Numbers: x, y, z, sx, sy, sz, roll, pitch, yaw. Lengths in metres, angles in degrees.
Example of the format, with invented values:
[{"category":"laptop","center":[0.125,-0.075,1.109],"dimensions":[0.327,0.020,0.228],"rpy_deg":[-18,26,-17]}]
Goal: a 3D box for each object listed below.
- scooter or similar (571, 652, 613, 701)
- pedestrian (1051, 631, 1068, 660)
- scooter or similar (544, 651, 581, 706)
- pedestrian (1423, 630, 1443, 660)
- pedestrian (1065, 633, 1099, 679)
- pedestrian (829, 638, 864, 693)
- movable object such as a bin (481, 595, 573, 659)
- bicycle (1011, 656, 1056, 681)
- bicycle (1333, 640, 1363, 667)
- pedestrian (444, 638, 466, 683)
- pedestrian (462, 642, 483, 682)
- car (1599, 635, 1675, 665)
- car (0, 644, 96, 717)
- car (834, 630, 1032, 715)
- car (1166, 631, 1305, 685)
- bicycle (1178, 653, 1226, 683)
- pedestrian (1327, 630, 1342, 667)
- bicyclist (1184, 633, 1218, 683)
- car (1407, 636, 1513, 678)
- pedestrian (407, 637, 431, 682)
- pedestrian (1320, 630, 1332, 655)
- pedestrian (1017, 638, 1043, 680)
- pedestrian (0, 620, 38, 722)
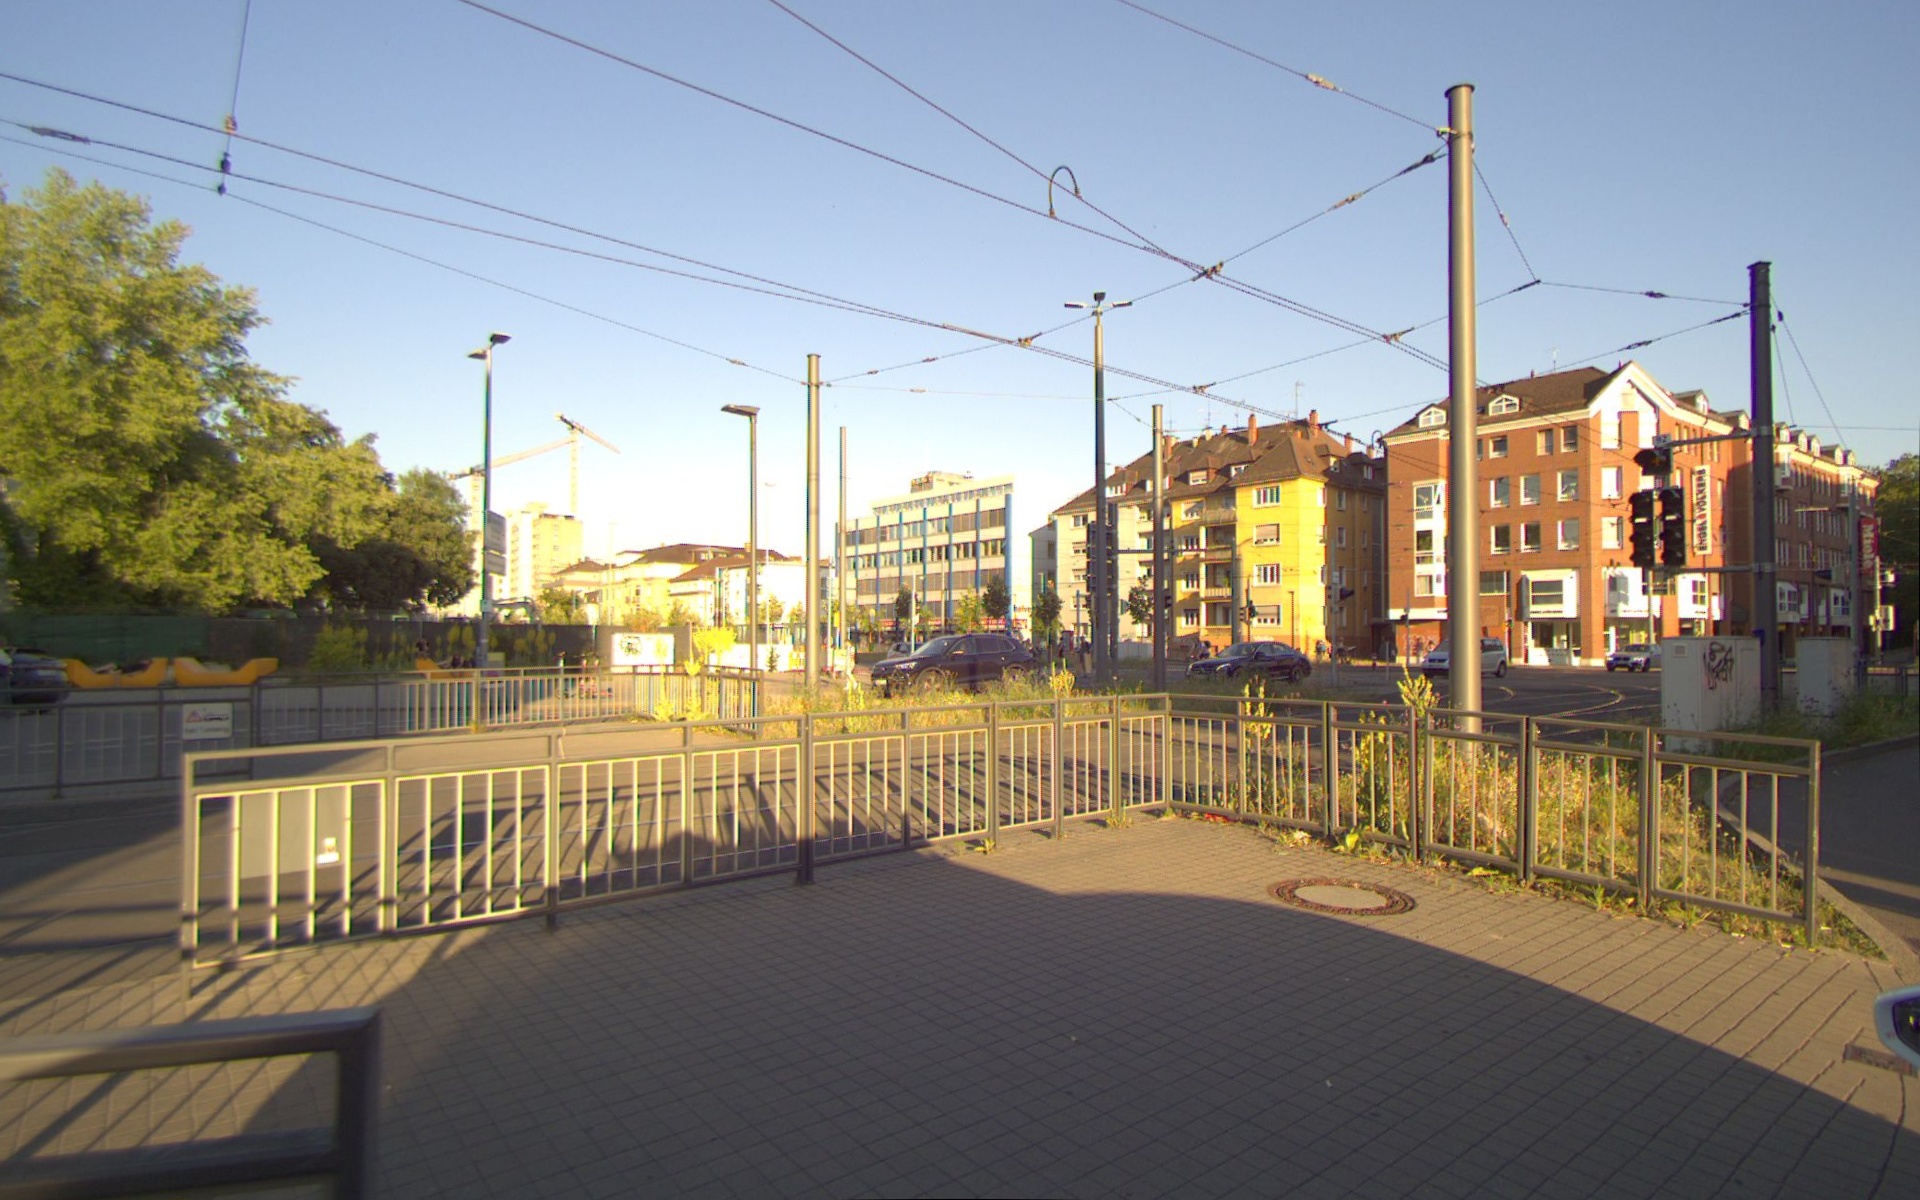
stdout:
[{"category":"scooter or similar","center":[-10.100,2.094,27.605],"dimensions":[0.507,1.288,1.257],"rpy_deg":[-1,-2,11]},{"category":"pedestrian","center":[6.447,2.957,65.126],"dimensions":[0.709,1.892,0.882],"rpy_deg":[-2,-3,34]},{"category":"scooter or similar","center":[-10.946,2.139,27.683],"dimensions":[0.507,1.465,1.256],"rpy_deg":[0,-2,1]},{"category":"pedestrian","center":[30.608,2.931,65.061],"dimensions":[0.833,1.893,0.930],"rpy_deg":[2,-1,-45]},{"category":"pedestrian","center":[5.272,2.406,43.303],"dimensions":[1.082,1.969,1.022],"rpy_deg":[-2,-3,35]},{"category":"pedestrian","center":[-3.959,2.287,35.143],"dimensions":[0.956,1.892,0.886],"rpy_deg":[-1,-2,13]},{"category":"movable object such as a bin","center":[-22.580,1.441,52.526],"dimensions":[4.280,3.271,1.990],"rpy_deg":[1,-2,-22]},{"category":"bicycle","center":[3.388,3.147,46.277],"dimensions":[1.982,1.074,0.890],"rpy_deg":[-2,-3,43]},{"category":"bicycle","center":[20.471,2.808,52.951],"dimensions":[1.999,1.343,0.612],"rpy_deg":[2,-1,-40]},{"category":"pedestrian","center":[-19.301,2.296,38.391],"dimensions":[0.596,1.680,0.529],"rpy_deg":[2,-3,-44]},{"category":"pedestrian","center":[-18.855,2.385,38.871],"dimensions":[0.619,1.515,0.635],"rpy_deg":[1,-3,-36]},{"category":"car","center":[34.255,2.516,50.815],"dimensions":[4.155,1.467,1.660],"rpy_deg":[1,-3,-32]},{"category":"car","center":[-21.357,1.689,21.461],"dimensions":[3.923,1.505,1.999],"rpy_deg":[0,-2,-4]},{"category":"car","center":[-0.612,1.751,25.235],"dimensions":[4.770,1.926,1.978],"rpy_deg":[2,-3,-39]},{"category":"car","center":[8.796,1.810,31.858],"dimensions":[4.547,1.605,1.978],"rpy_deg":[2,-3,-39]},{"category":"bicycle","center":[8.471,2.381,35.188],"dimensions":[1.603,1.021,0.663],"rpy_deg":[1,-3,-30]},{"category":"pedestrian","center":[19.878,2.565,53.287],"dimensions":[0.558,1.893,0.498],"rpy_deg":[1,-1,-41]},{"category":"bicyclist","center":[8.423,2.023,35.165],"dimensions":[0.968,1.710,0.659],"rpy_deg":[1,-2,-30]},{"category":"car","center":[20.102,2.246,40.365],"dimensions":[4.067,1.605,1.983],"rpy_deg":[1,-3,-32]},{"category":"pedestrian","center":[-20.466,2.258,38.013],"dimensions":[0.527,1.680,0.598],"rpy_deg":[-2,-3,35]},{"category":"pedestrian","center":[28.567,3.313,78.386],"dimensions":[0.793,1.893,0.662],"rpy_deg":[1,0,32]},{"category":"pedestrian","center":[3.236,2.721,46.401],"dimensions":[0.834,1.935,0.890],"rpy_deg":[-2,-2,43]},{"category":"pedestrian","center":[-18.279,1.340,19.117],"dimensions":[0.752,1.917,0.728],"rpy_deg":[0,-2,-12]}]
